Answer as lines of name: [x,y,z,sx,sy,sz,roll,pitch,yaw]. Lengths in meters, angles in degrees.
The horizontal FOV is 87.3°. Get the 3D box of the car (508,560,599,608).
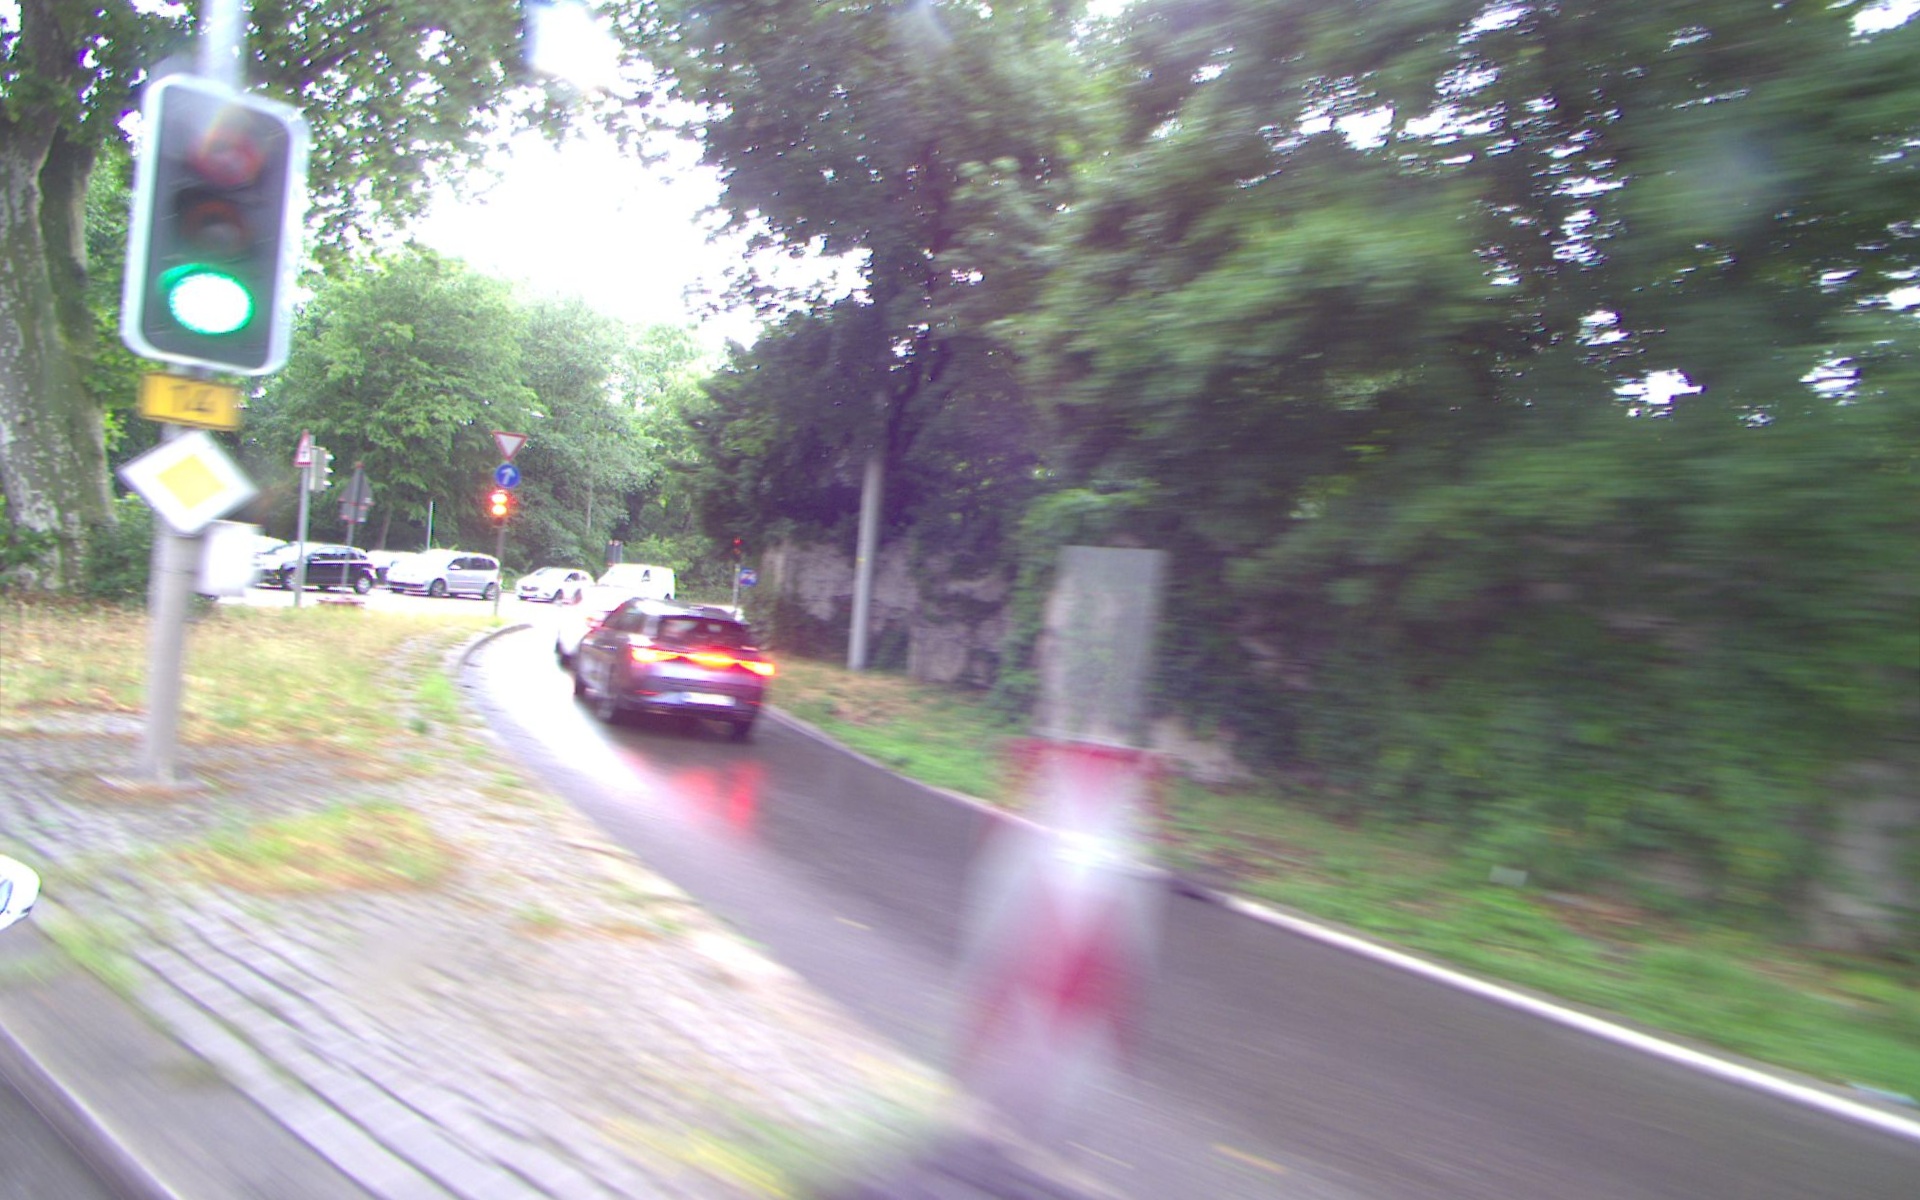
car: [-16.845,-0.621,41.923,1.626,1.477,3.870,7,-3,9]

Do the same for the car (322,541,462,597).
car: [-20.968,-1.098,37.348,1.795,1.418,4.453,7,-3,16]

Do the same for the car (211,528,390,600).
car: [-19.390,-1.010,29.819,1.759,1.476,4.206,7,-3,16]

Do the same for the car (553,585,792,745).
car: [-3.773,0.697,12.586,1.736,1.418,4.382,10,-3,-29]

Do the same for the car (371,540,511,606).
car: [-18.207,-0.886,35.503,1.871,1.698,4.217,7,-3,16]

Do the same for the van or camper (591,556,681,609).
van or camper: [-15.381,-0.776,48.029,1.870,1.970,4.871,6,-2,10]

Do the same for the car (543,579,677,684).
car: [-6.693,0.495,18.910,1.837,1.464,4.594,11,-3,-23]
